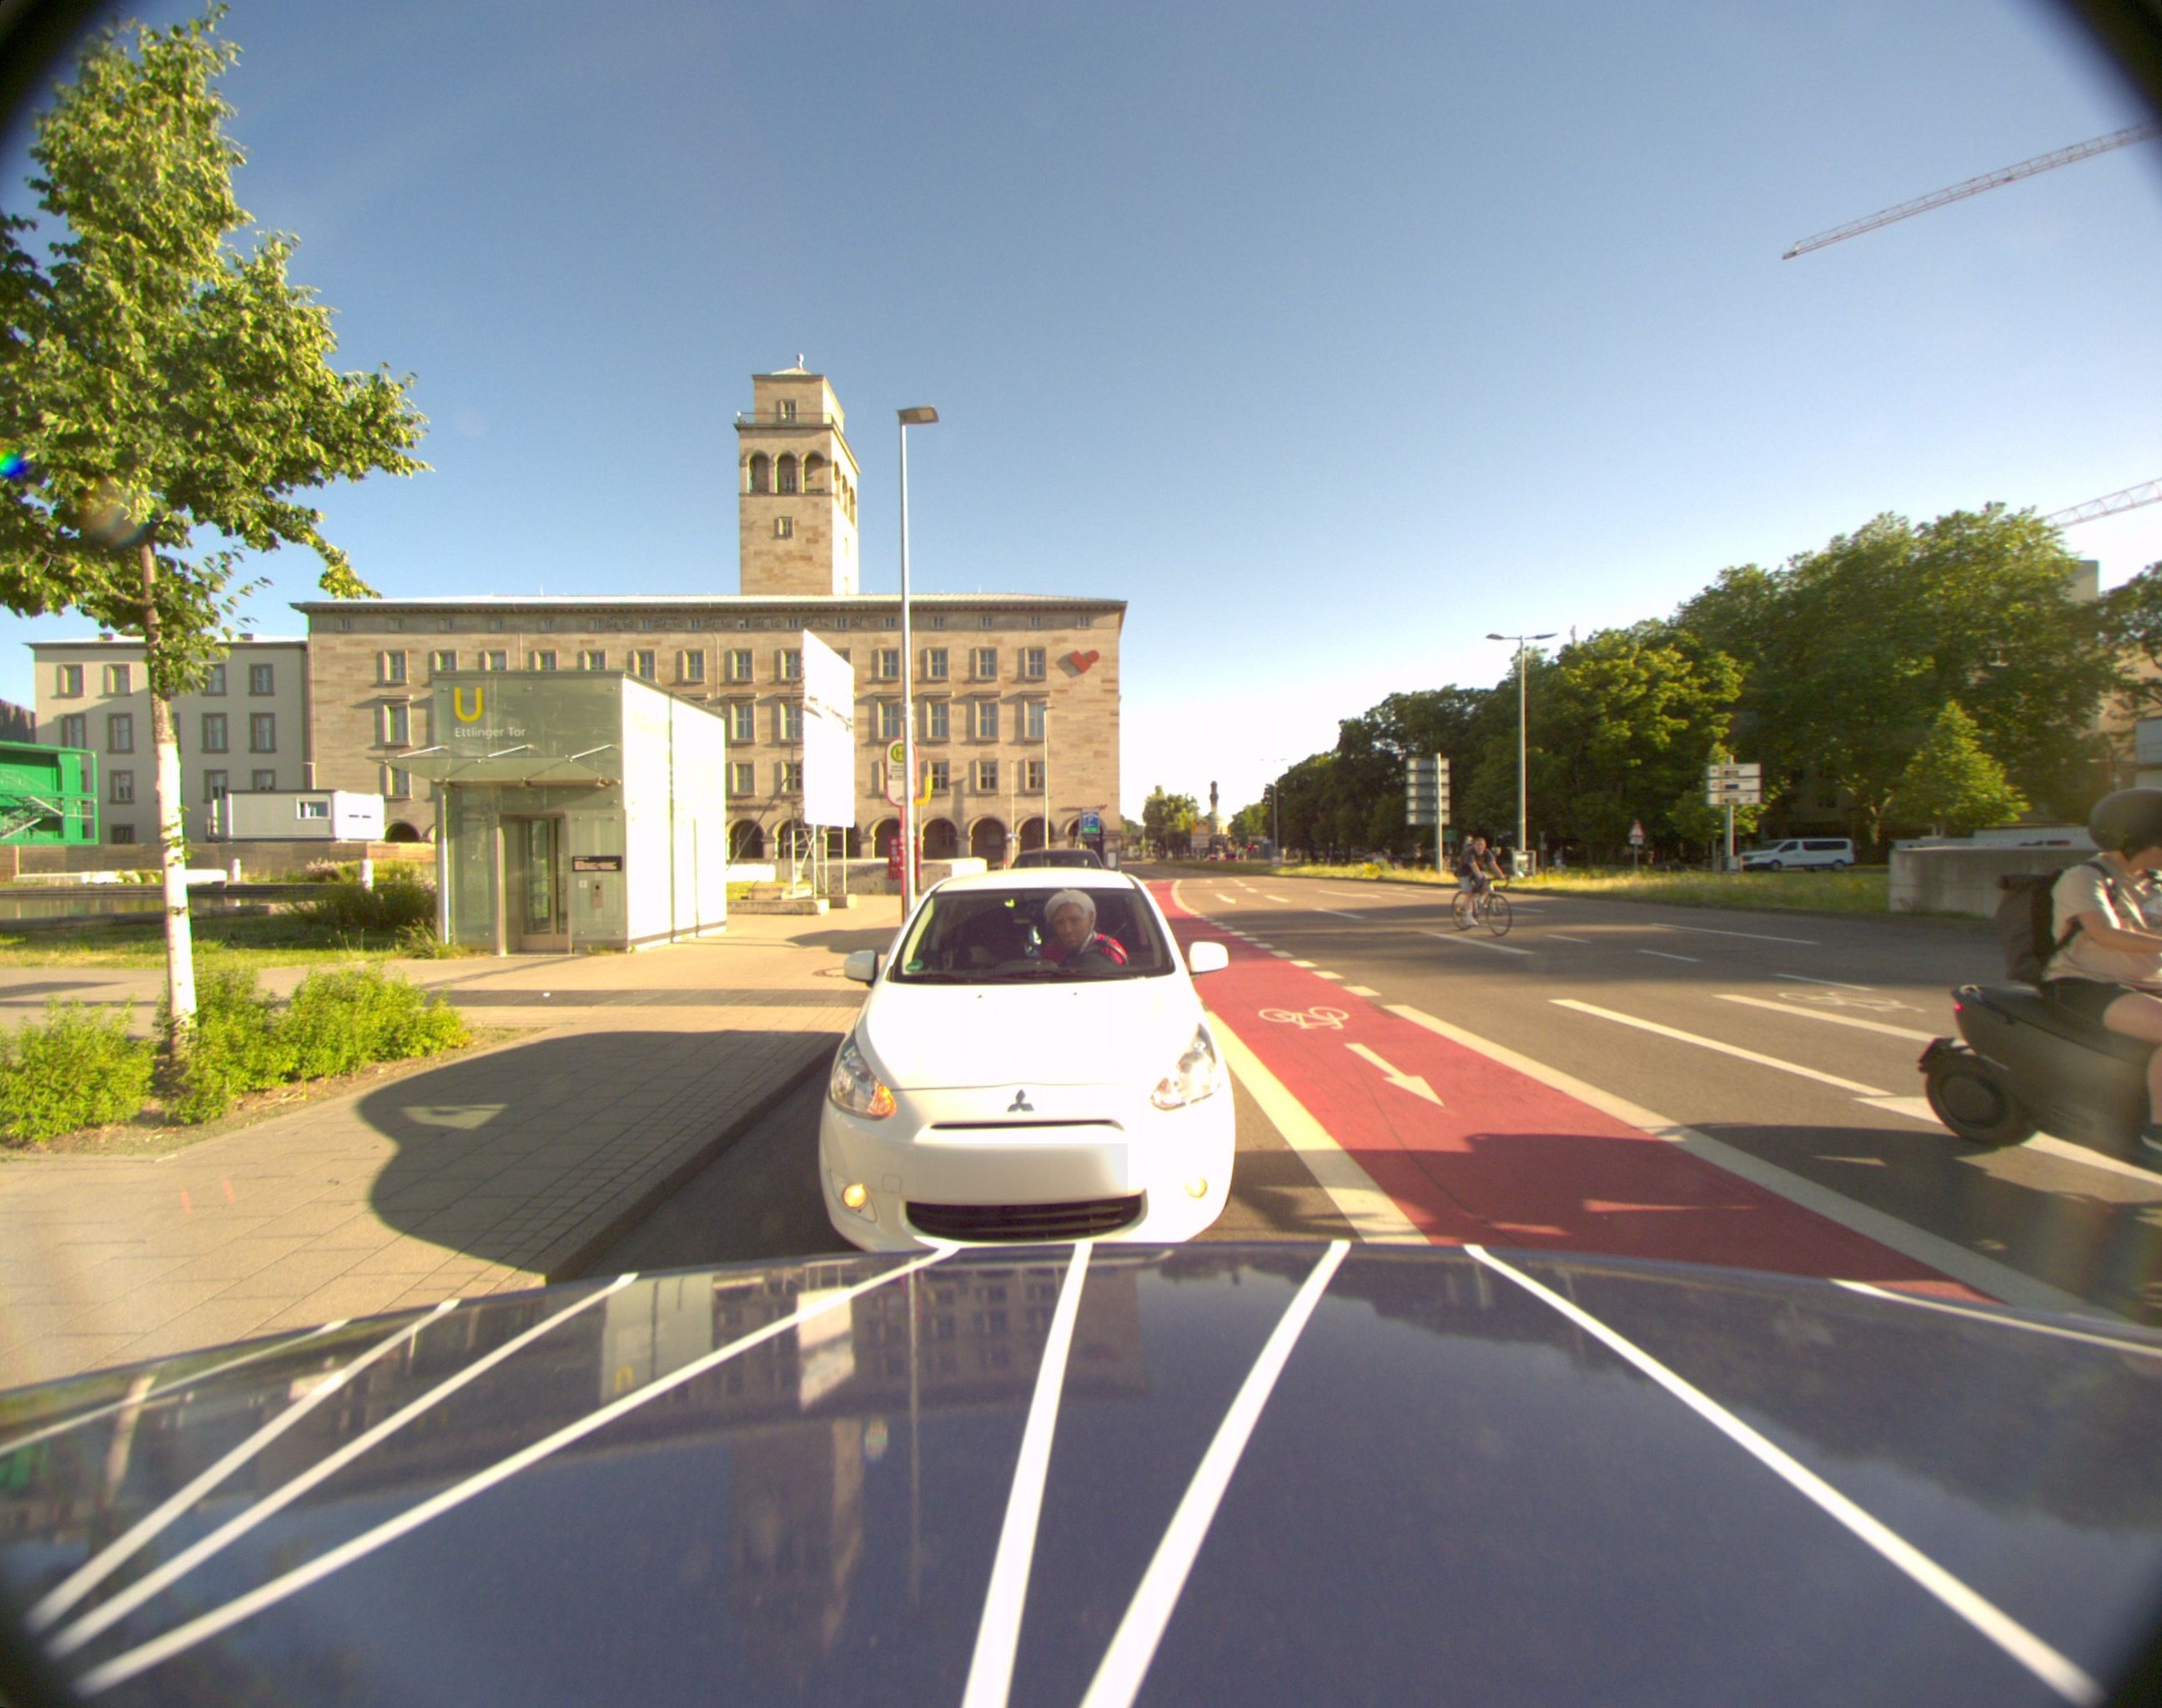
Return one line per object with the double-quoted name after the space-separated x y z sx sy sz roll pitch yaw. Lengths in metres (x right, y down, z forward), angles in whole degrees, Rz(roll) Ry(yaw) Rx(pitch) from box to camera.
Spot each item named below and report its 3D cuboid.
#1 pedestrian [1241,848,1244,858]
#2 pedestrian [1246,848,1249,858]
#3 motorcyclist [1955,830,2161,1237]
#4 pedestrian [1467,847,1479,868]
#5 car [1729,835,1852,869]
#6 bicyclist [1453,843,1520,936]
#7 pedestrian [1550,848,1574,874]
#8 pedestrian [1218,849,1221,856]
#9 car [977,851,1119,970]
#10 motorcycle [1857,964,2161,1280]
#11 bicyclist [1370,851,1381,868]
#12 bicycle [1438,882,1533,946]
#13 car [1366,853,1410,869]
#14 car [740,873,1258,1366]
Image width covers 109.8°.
32.350 -0.260 152.420 0.525 2.002 0.594 -1 1 -2 "pedestrian"
33.391 -0.297 152.581 0.525 2.002 0.594 -1 1 -2 "pedestrian"
4.311 0.645 2.978 0.756 1.475 0.882 -1 1 5 "motorcyclist"
32.191 0.267 62.410 0.664 1.716 0.698 -1 1 0 "pedestrian"
41.983 -0.123 45.056 5.325 1.880 2.000 -1 0 2 "car"
6.804 0.568 12.792 0.624 1.494 0.938 -2 1 2 "bicyclist"
33.645 0.460 53.153 0.997 1.773 0.964 -2 1 1 "pedestrian"
30.597 -0.306 167.921 0.442 1.550 0.499 -1 1 1 "pedestrian"
-0.482 0.784 13.140 1.999 1.652 4.791 -1 0 0 "car"
4.314 1.058 2.923 0.756 0.963 1.960 -1 0 5 "motorcycle"
24.108 0.415 62.146 0.617 1.359 0.768 -1 1 1 "bicyclist"
6.807 0.976 12.890 0.624 0.903 1.910 -2 0 2 "bicycle"
22.328 0.487 55.316 1.618 1.126 3.770 -2 0 -1 "car"
-0.245 0.941 4.517 1.660 1.463 3.969 -3 0 1 "car"
